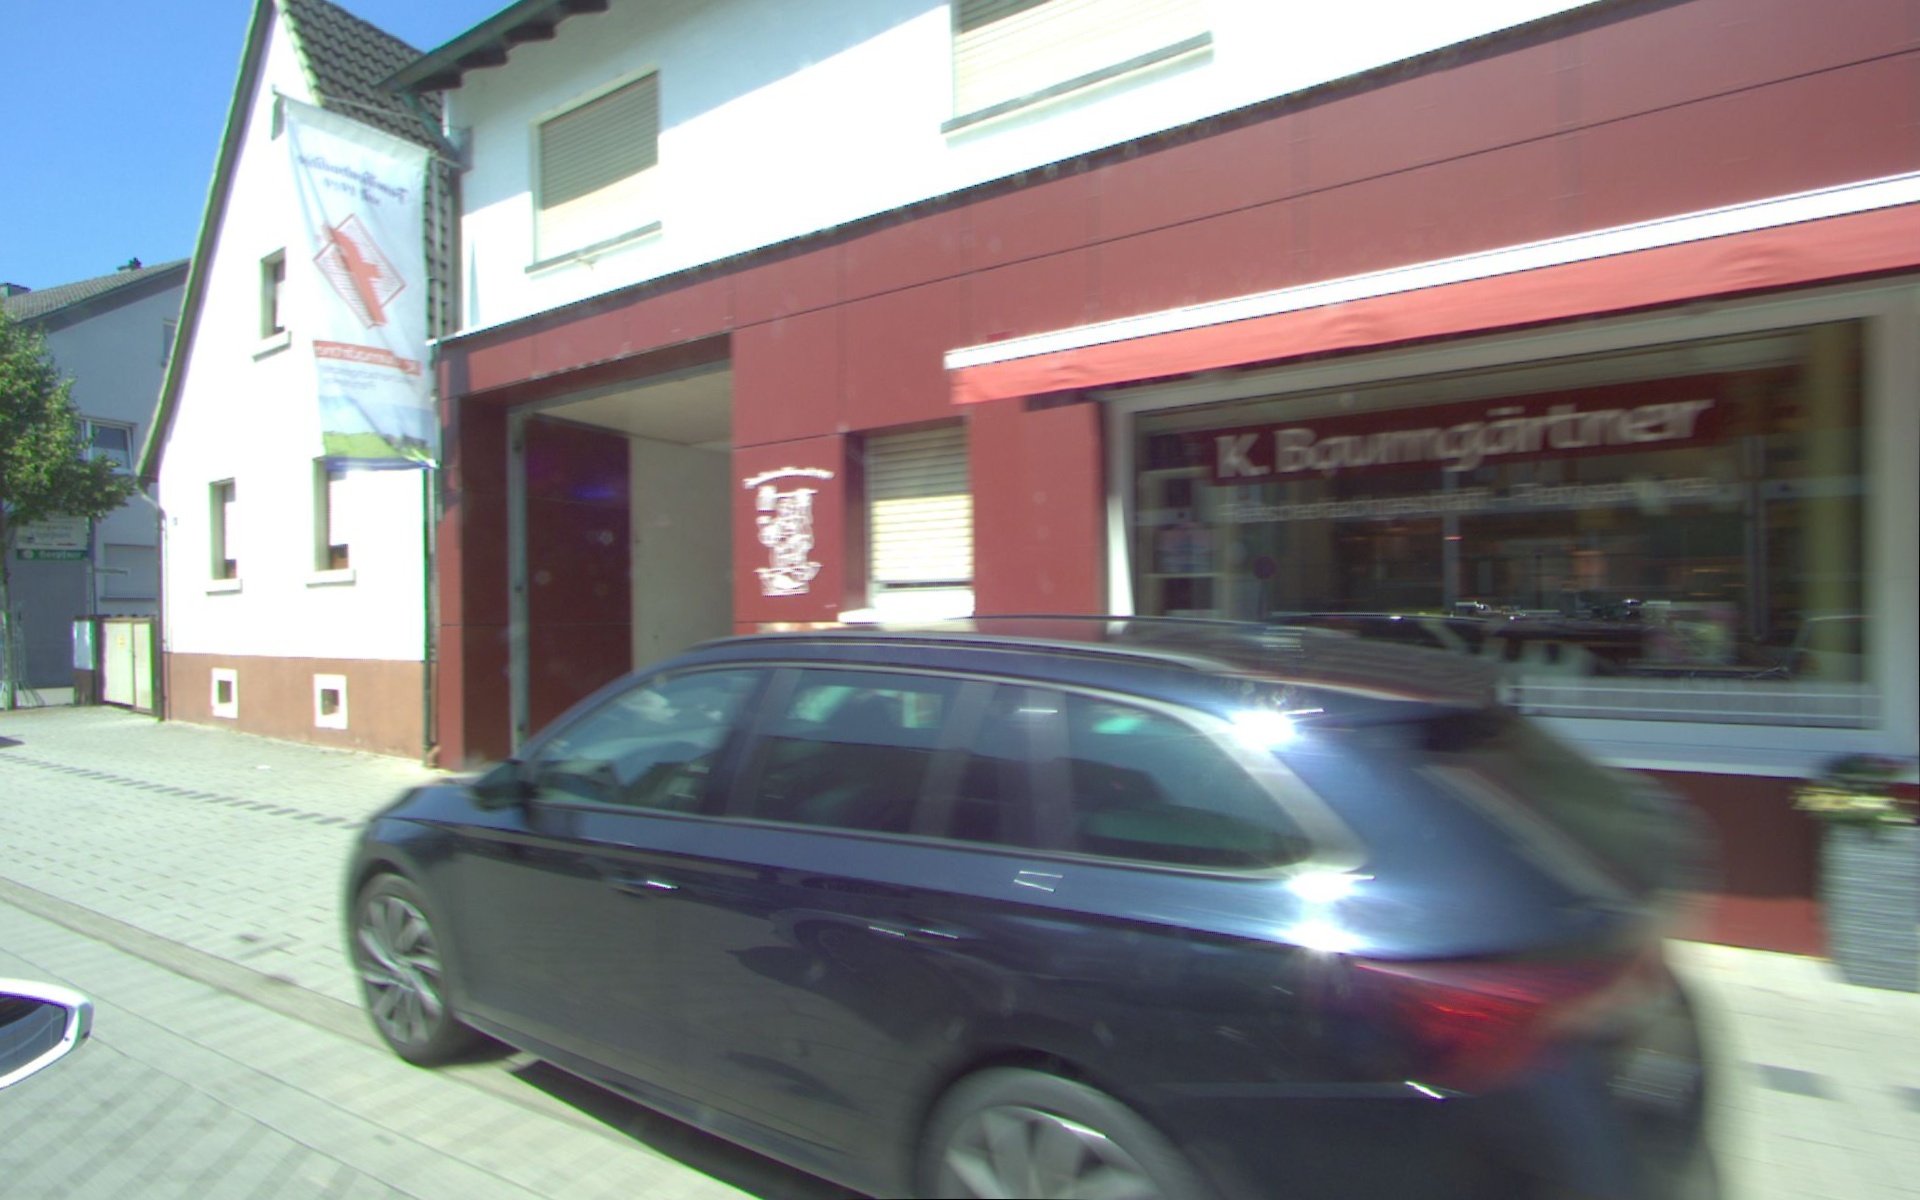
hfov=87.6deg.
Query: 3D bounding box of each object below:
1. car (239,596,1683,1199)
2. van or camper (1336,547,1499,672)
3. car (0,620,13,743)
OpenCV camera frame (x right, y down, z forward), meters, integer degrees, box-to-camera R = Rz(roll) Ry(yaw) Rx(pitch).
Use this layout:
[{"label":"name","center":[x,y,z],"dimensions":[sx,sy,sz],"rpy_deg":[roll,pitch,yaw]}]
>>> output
[{"label":"car","center":[-0.397,0.787,3.364],"dimensions":[4.524,1.479,1.852],"rpy_deg":[-1,1,35]},{"label":"van or camper","center":[8.784,0.242,18.960],"dimensions":[1.973,2.039,4.839],"rpy_deg":[0,-2,35]},{"label":"car","center":[-13.490,1.000,12.030],"dimensions":[4.054,1.458,1.758],"rpy_deg":[-1,1,26]}]
